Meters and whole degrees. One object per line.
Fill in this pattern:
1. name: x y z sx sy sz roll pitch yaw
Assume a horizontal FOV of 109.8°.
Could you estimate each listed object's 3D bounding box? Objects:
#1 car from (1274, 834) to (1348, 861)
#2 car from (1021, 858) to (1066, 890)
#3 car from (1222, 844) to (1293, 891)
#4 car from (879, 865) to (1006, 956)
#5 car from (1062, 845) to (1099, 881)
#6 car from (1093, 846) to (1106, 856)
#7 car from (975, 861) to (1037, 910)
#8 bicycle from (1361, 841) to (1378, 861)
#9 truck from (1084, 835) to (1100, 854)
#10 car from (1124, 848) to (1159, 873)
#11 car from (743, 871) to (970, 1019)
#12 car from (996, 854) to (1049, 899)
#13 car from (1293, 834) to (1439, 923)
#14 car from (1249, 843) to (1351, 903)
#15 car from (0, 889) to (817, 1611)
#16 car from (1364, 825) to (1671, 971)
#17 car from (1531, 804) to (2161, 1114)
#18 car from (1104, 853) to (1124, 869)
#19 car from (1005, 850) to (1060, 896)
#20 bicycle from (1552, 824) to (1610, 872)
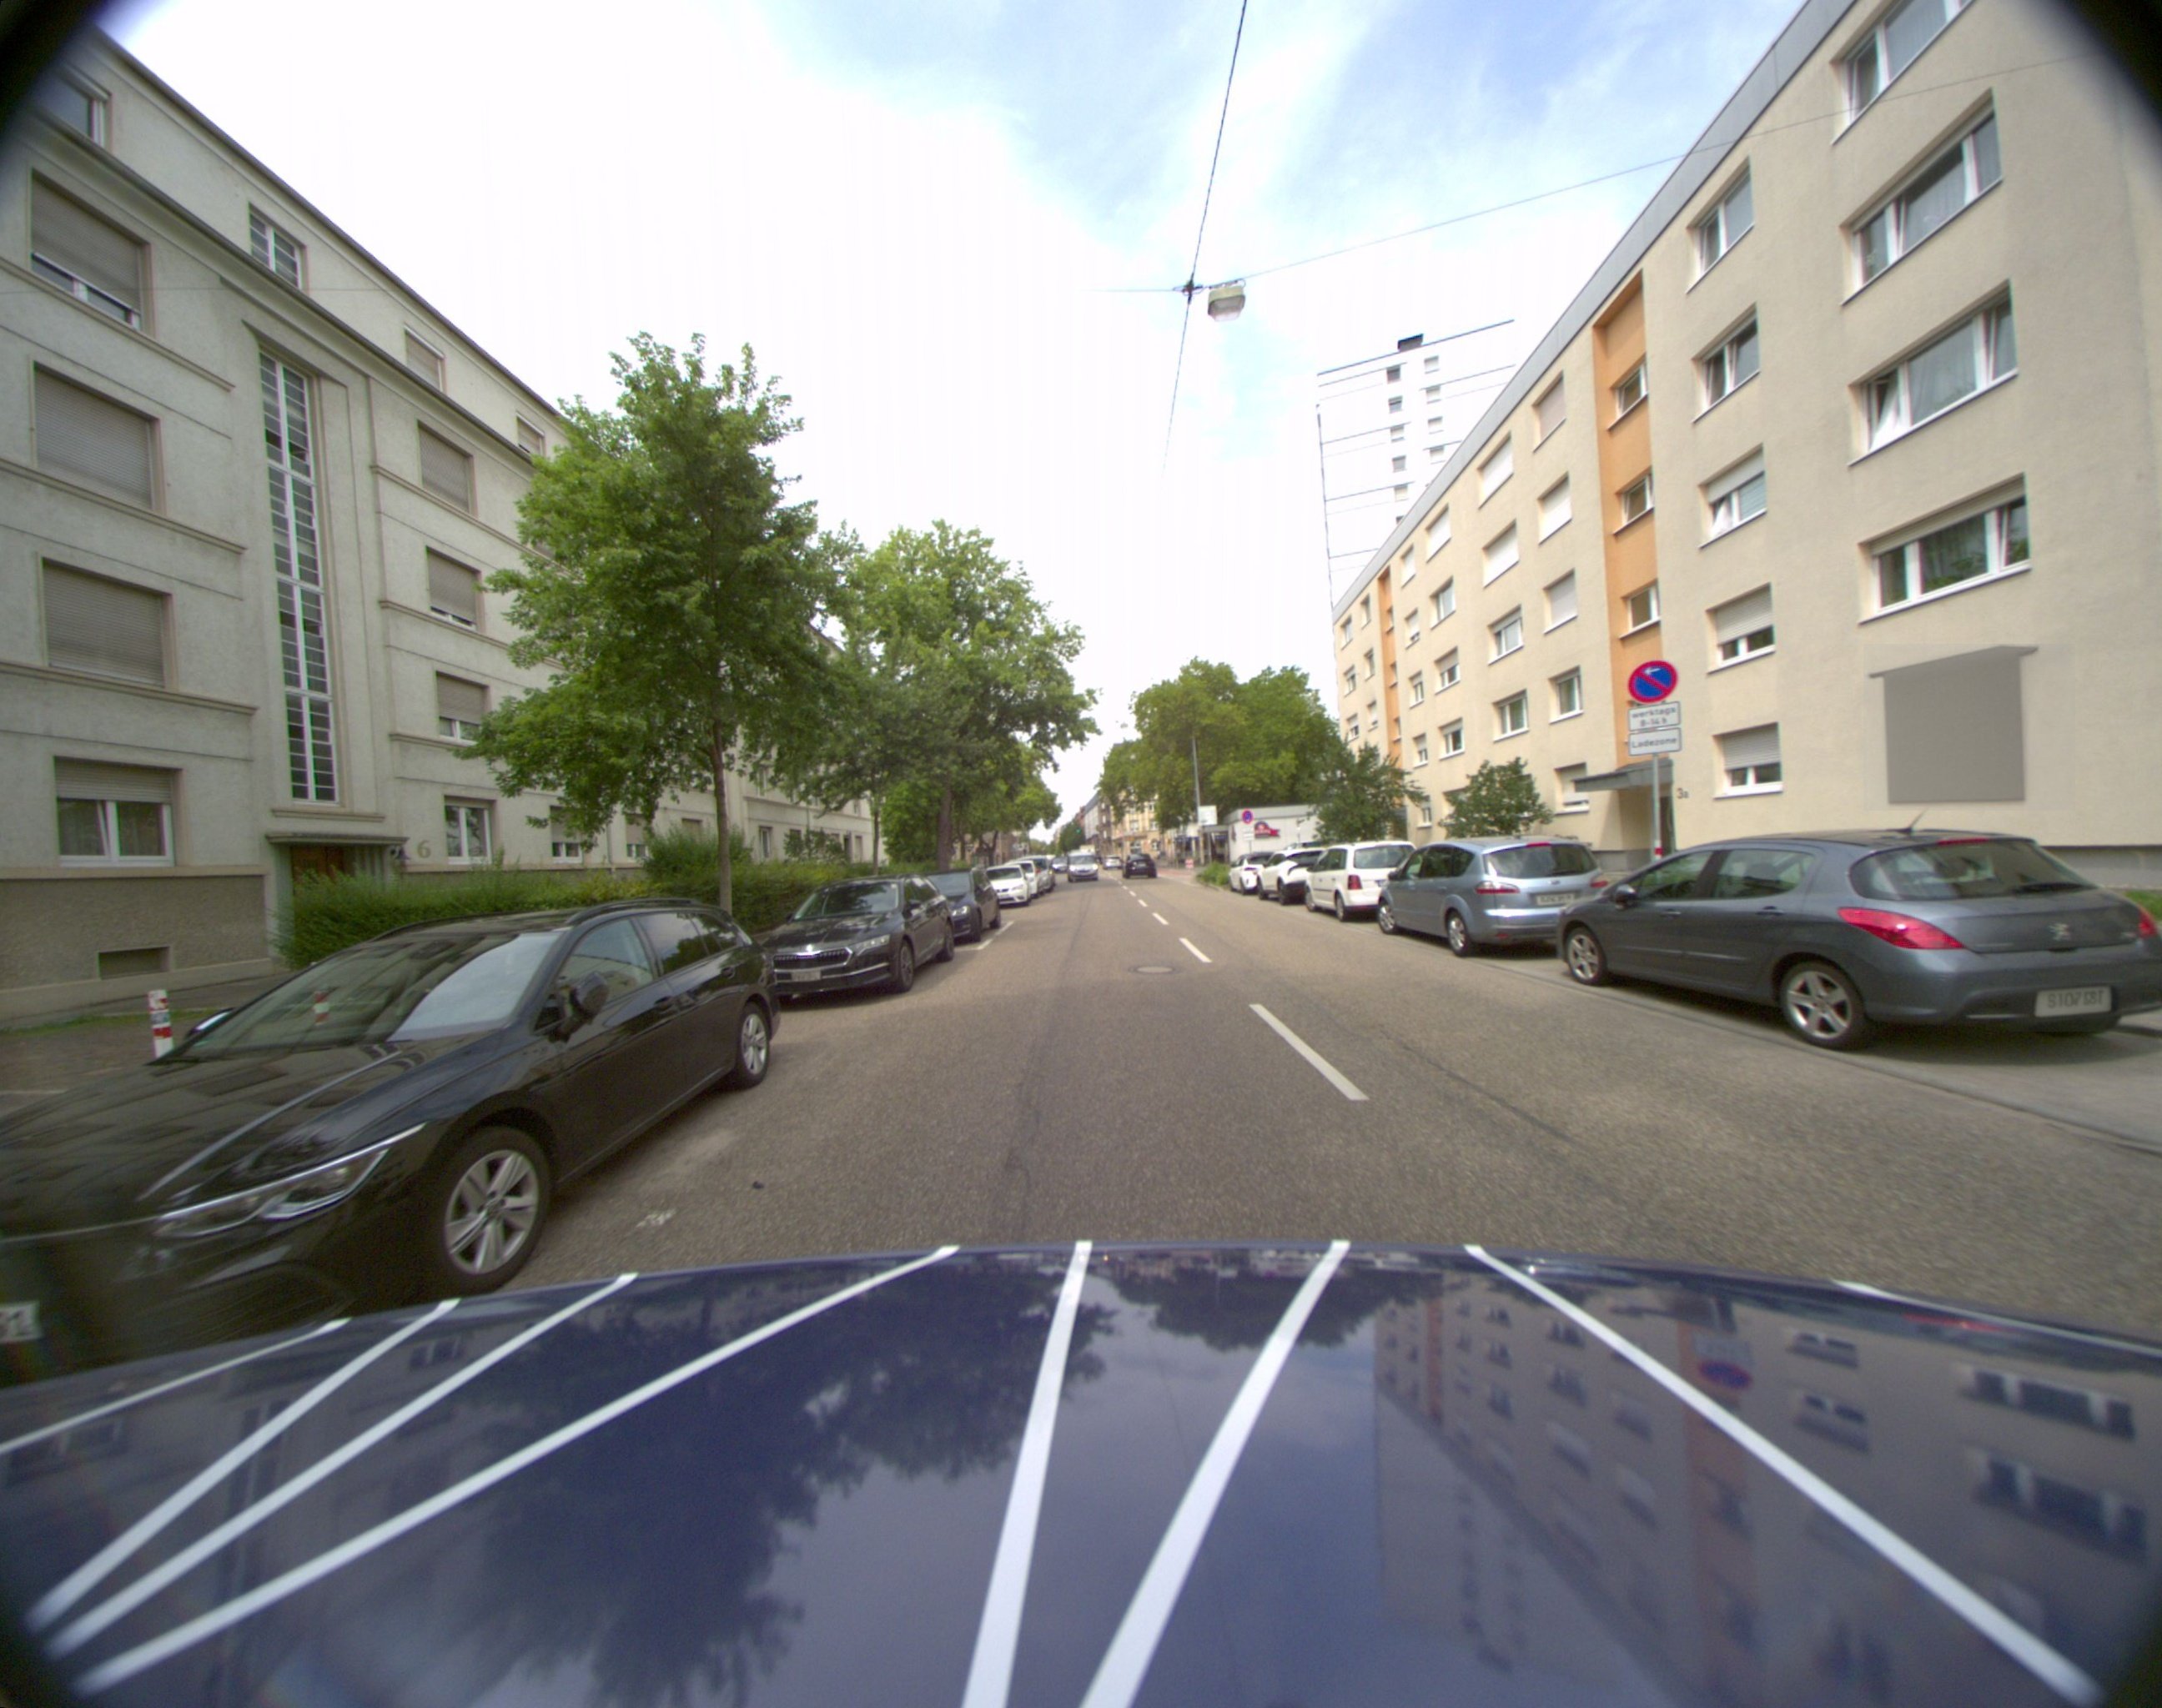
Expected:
1. car: 15.948 -0.421 52.819 4.640 1.676 1.850 -2 0 7
2. car: -1.934 1.026 40.803 1.922 1.436 4.239 -5 0 2
3. car: 6.335 0.453 27.634 1.712 1.464 3.989 -5 0 3
4. car: -2.745 1.074 16.014 1.701 1.461 4.101 -5 0 2
5. car: -0.081 0.540 47.502 2.082 2.039 4.679 -3 0 -2
6. car: 2.780 -0.431 115.037 1.701 1.509 4.000 -2 0 0
7. car: -2.543 1.029 26.612 1.701 1.441 4.100 -4 0 0
8. bicycle: 15.134 -0.178 39.909 0.412 1.032 1.805 -3 1 8
9. truck: 1.885 -1.598 131.814 2.548 3.089 7.019 -1 0 -2
10. car: 3.793 0.374 48.460 1.956 1.512 4.613 -1 0 1
11. car: -2.929 1.105 11.044 1.701 1.461 4.560 -5 0 2
12. car: -2.343 0.868 31.124 1.608 1.598 3.805 -5 0 2
13. car: 6.180 0.468 17.072 1.701 1.603 4.478 -5 0 3
14. car: 6.294 0.497 22.339 1.713 1.464 3.988 -5 0 -1
15. car: -3.174 1.104 4.161 1.701 1.461 4.753 -5 0 0
16. car: 6.116 0.513 11.511 1.947 1.603 4.862 -5 0 3
17. car: 6.010 0.551 6.334 1.947 1.603 4.302 -5 0 2
18. car: 3.300 0.688 75.691 1.848 1.442 4.185 -2 0 1
19. car: -2.206 0.821 35.777 1.922 1.854 4.846 -5 0 2
20. bicycle: 13.835 -0.165 21.091 0.556 1.243 1.919 -3 -1 9
